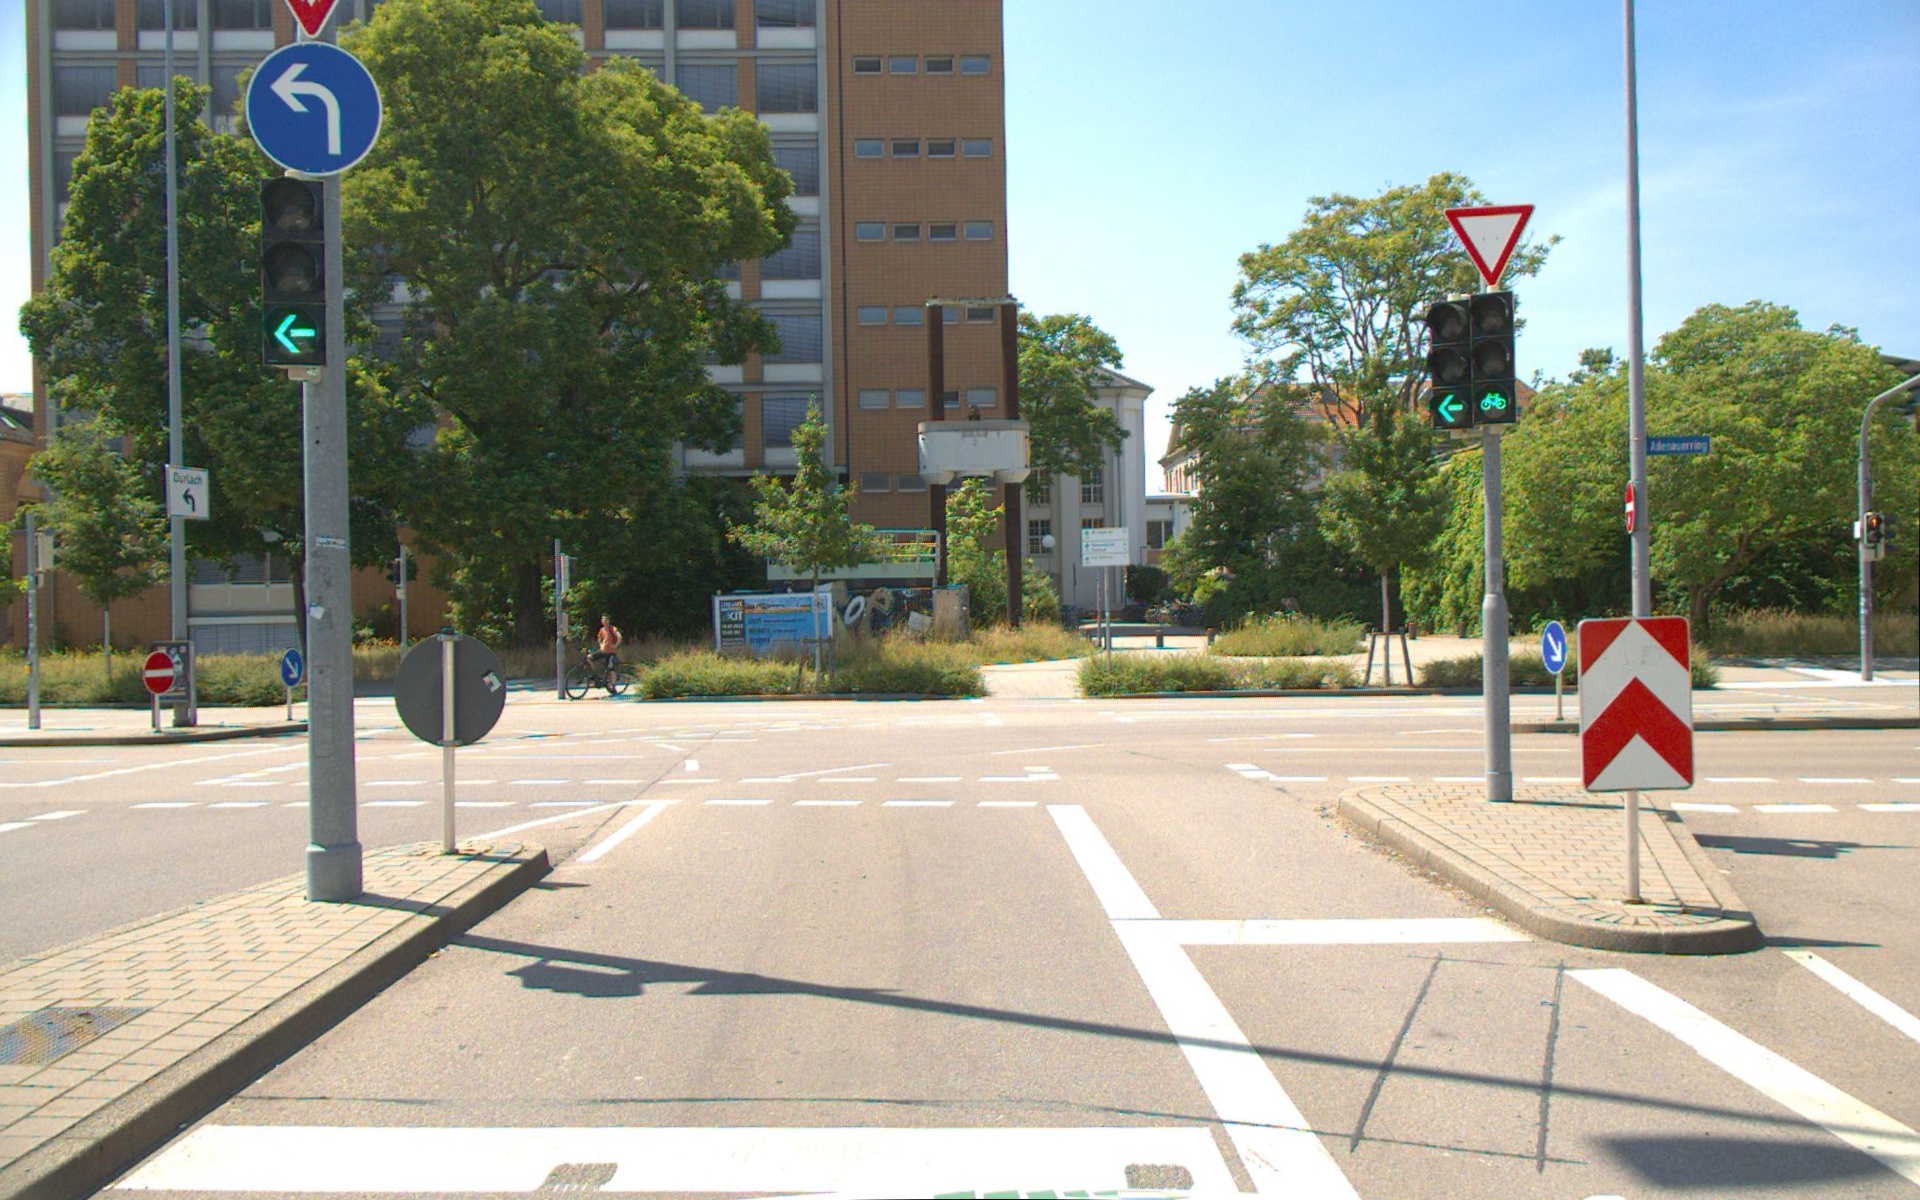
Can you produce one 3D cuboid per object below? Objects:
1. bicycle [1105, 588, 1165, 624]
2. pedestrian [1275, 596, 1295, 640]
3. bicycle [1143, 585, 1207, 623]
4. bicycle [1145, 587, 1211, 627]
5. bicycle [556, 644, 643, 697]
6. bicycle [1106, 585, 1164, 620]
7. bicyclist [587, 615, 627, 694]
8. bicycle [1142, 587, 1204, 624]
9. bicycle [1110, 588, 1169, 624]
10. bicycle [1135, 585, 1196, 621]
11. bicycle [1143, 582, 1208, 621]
[{"bbox_3d":[10.180,0.331,96.339,3.376,2.049,0.760,1,-1,1],"label":"bicycle"},{"bbox_3d":[12.668,0.707,64.524,0.626,1.694,0.706,1,0,-2],"label":"pedestrian"},{"bbox_3d":[11.703,0.221,90.123,3.376,2.049,0.760,1,-1,1],"label":"bicycle"},{"bbox_3d":[11.474,0.380,87.233,3.376,2.049,0.760,1,-1,1],"label":"bicycle"},{"bbox_3d":[-8.082,1.575,37.179,0.548,1.063,1.986,0,1,40],"label":"bicycle"},{"bbox_3d":[10.420,0.134,98.754,3.376,2.049,0.760,1,-1,1],"label":"bicycle"},{"bbox_3d":[-7.959,1.218,37.326,0.541,1.745,0.699,0,1,40],"label":"bicyclist"},{"bbox_3d":[11.878,0.316,92.239,3.376,2.049,0.760,1,-1,1],"label":"bicycle"},{"bbox_3d":[10.591,0.348,97.523,3.376,2.049,0.760,1,-1,1],"label":"bicycle"},{"bbox_3d":[11.756,0.179,94.604,3.376,2.049,0.760,1,-1,1],"label":"bicycle"},{"bbox_3d":[11.539,0.062,88.715,3.376,2.049,0.760,1,-1,1],"label":"bicycle"}]
